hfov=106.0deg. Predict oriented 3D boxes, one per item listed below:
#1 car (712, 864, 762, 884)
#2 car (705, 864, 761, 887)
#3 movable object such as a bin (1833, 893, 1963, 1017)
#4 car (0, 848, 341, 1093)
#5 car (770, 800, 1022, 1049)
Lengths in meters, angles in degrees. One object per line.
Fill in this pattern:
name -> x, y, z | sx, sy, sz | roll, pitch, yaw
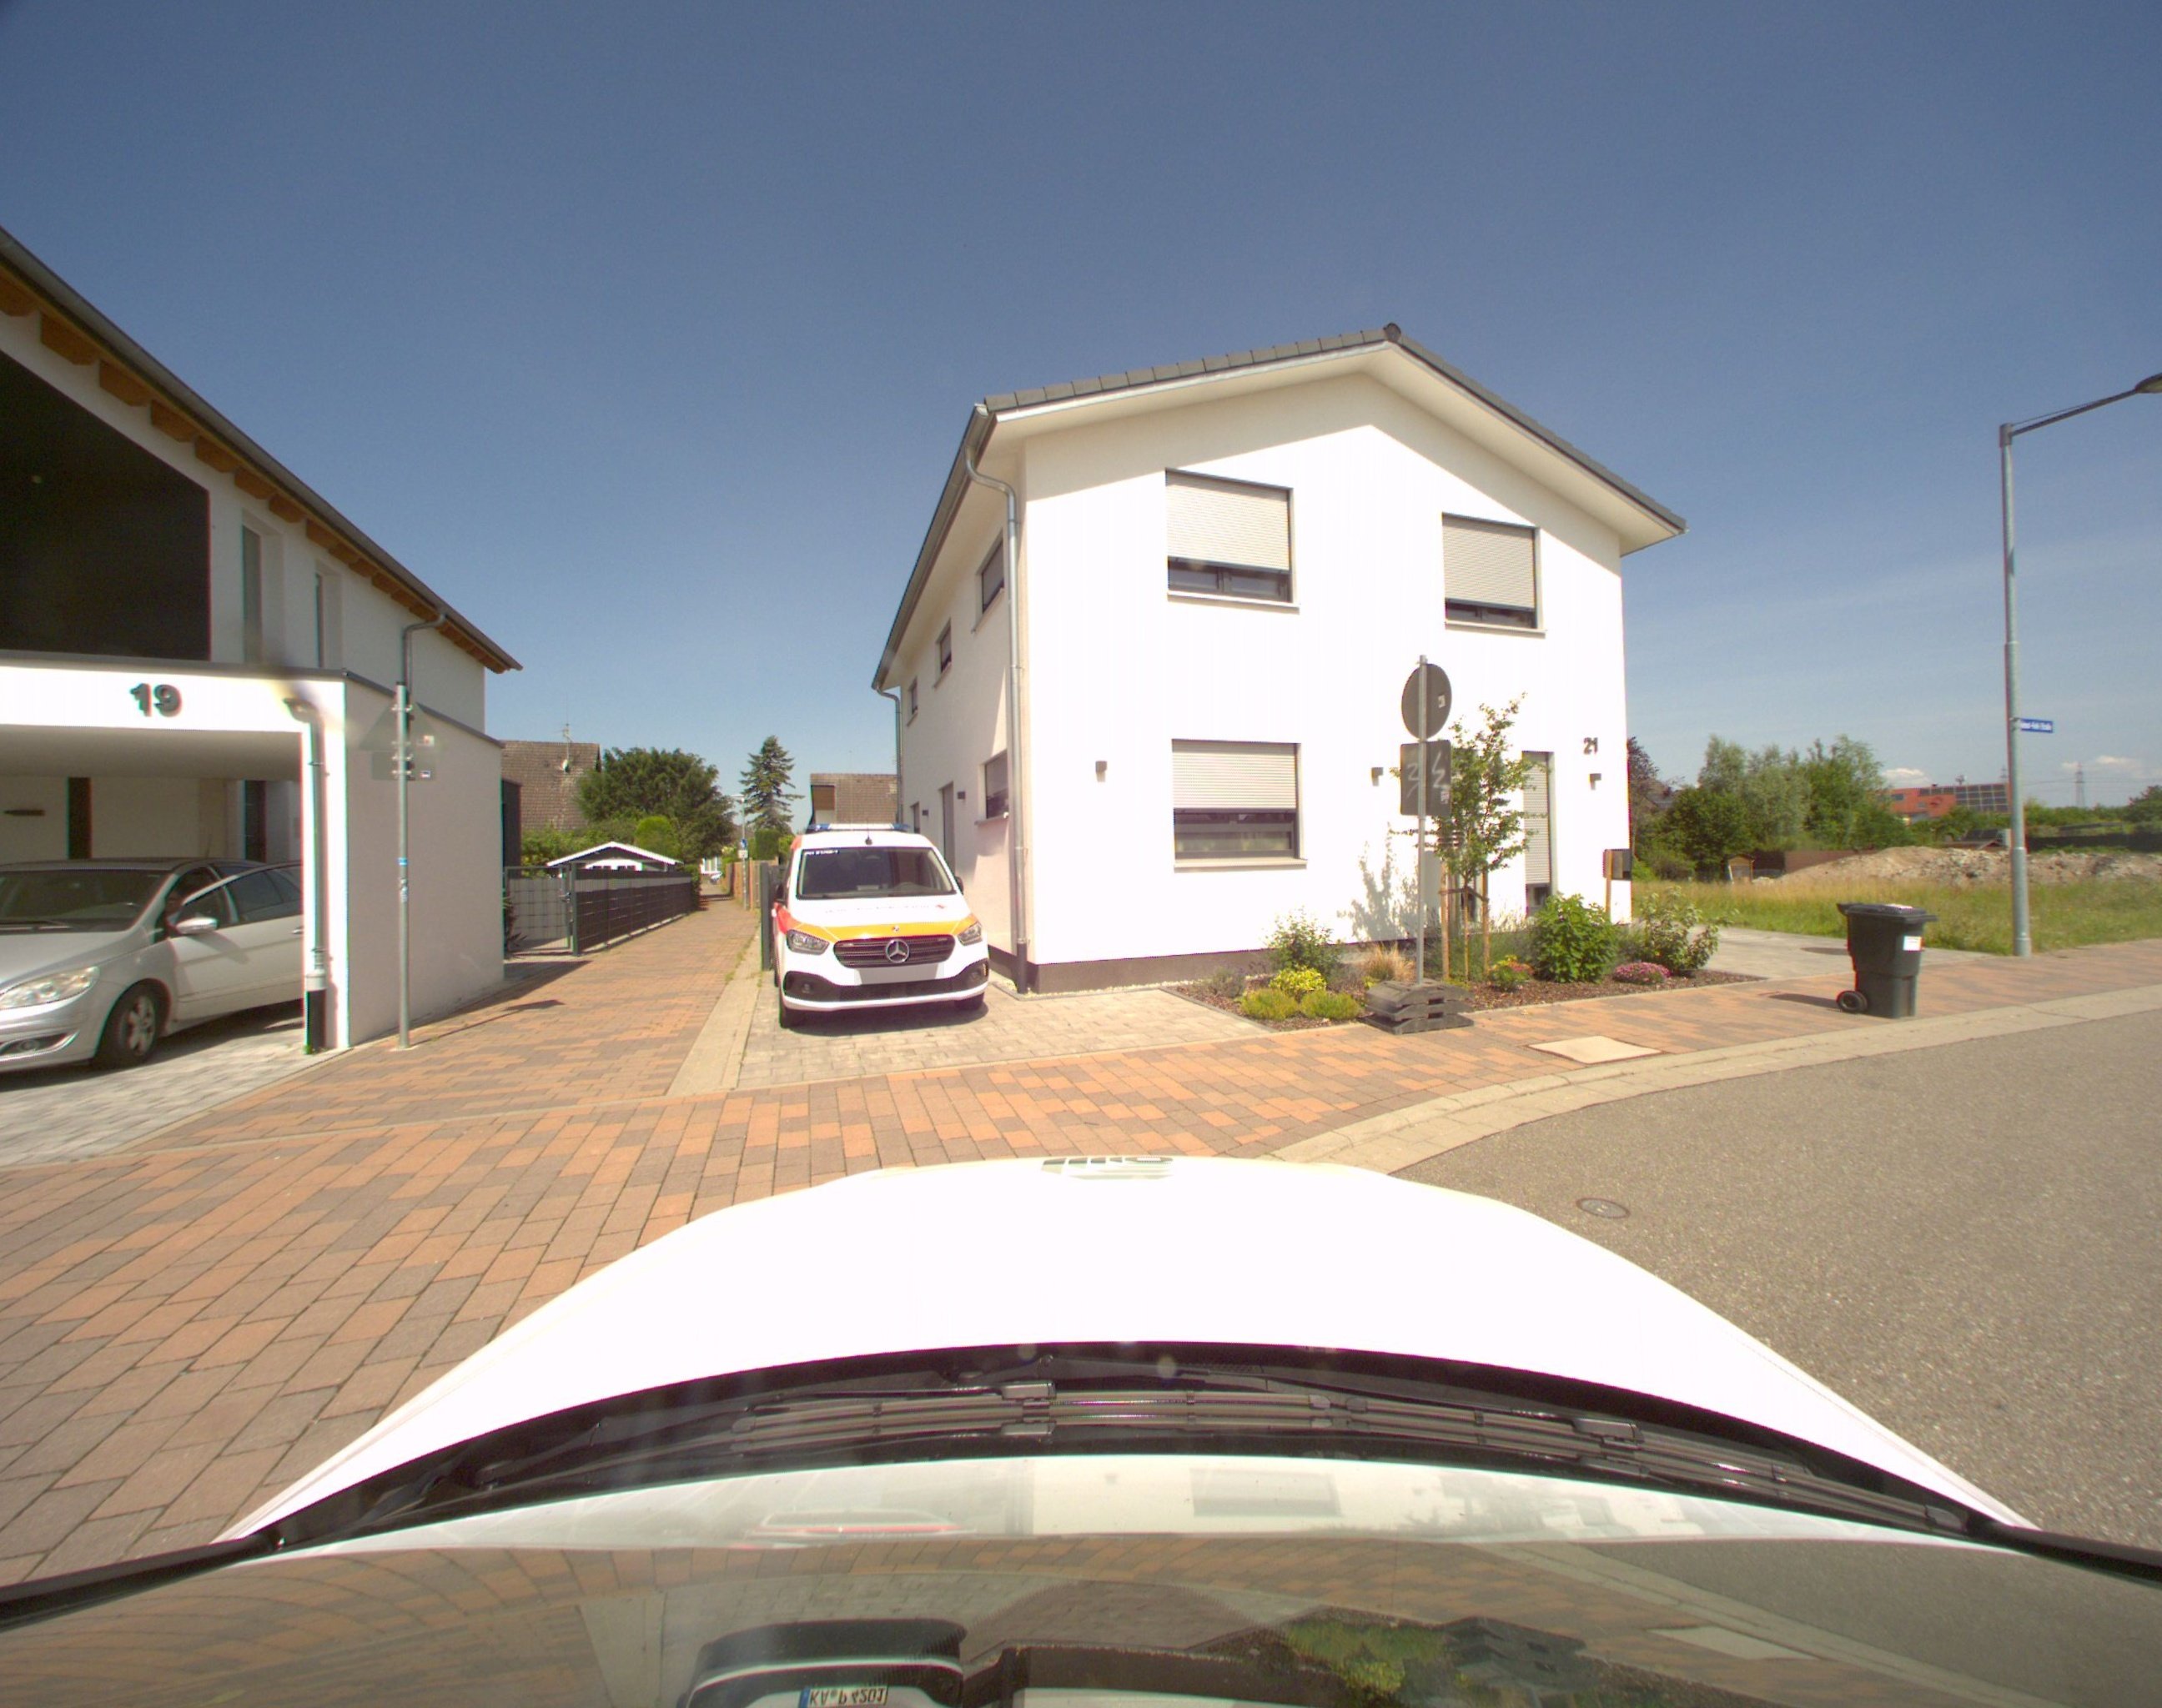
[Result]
car -> -32.005, 1.854, 75.858 | 4.163, 1.717, 1.892 | -1, -1, -22
car -> -28.930, 1.758, 67.791 | 4.163, 1.717, 1.892 | -1, -1, -22
movable object such as a bin -> 6.841, 0.818, 6.836 | 0.500, 0.948, 0.620 | 0, -1, -23
car -> -8.260, 0.811, 6.880 | 1.748, 1.562, 4.132 | -1, -1, -24
car -> -2.267, 0.565, 8.722 | 1.939, 1.875, 4.717 | -1, -1, -21
